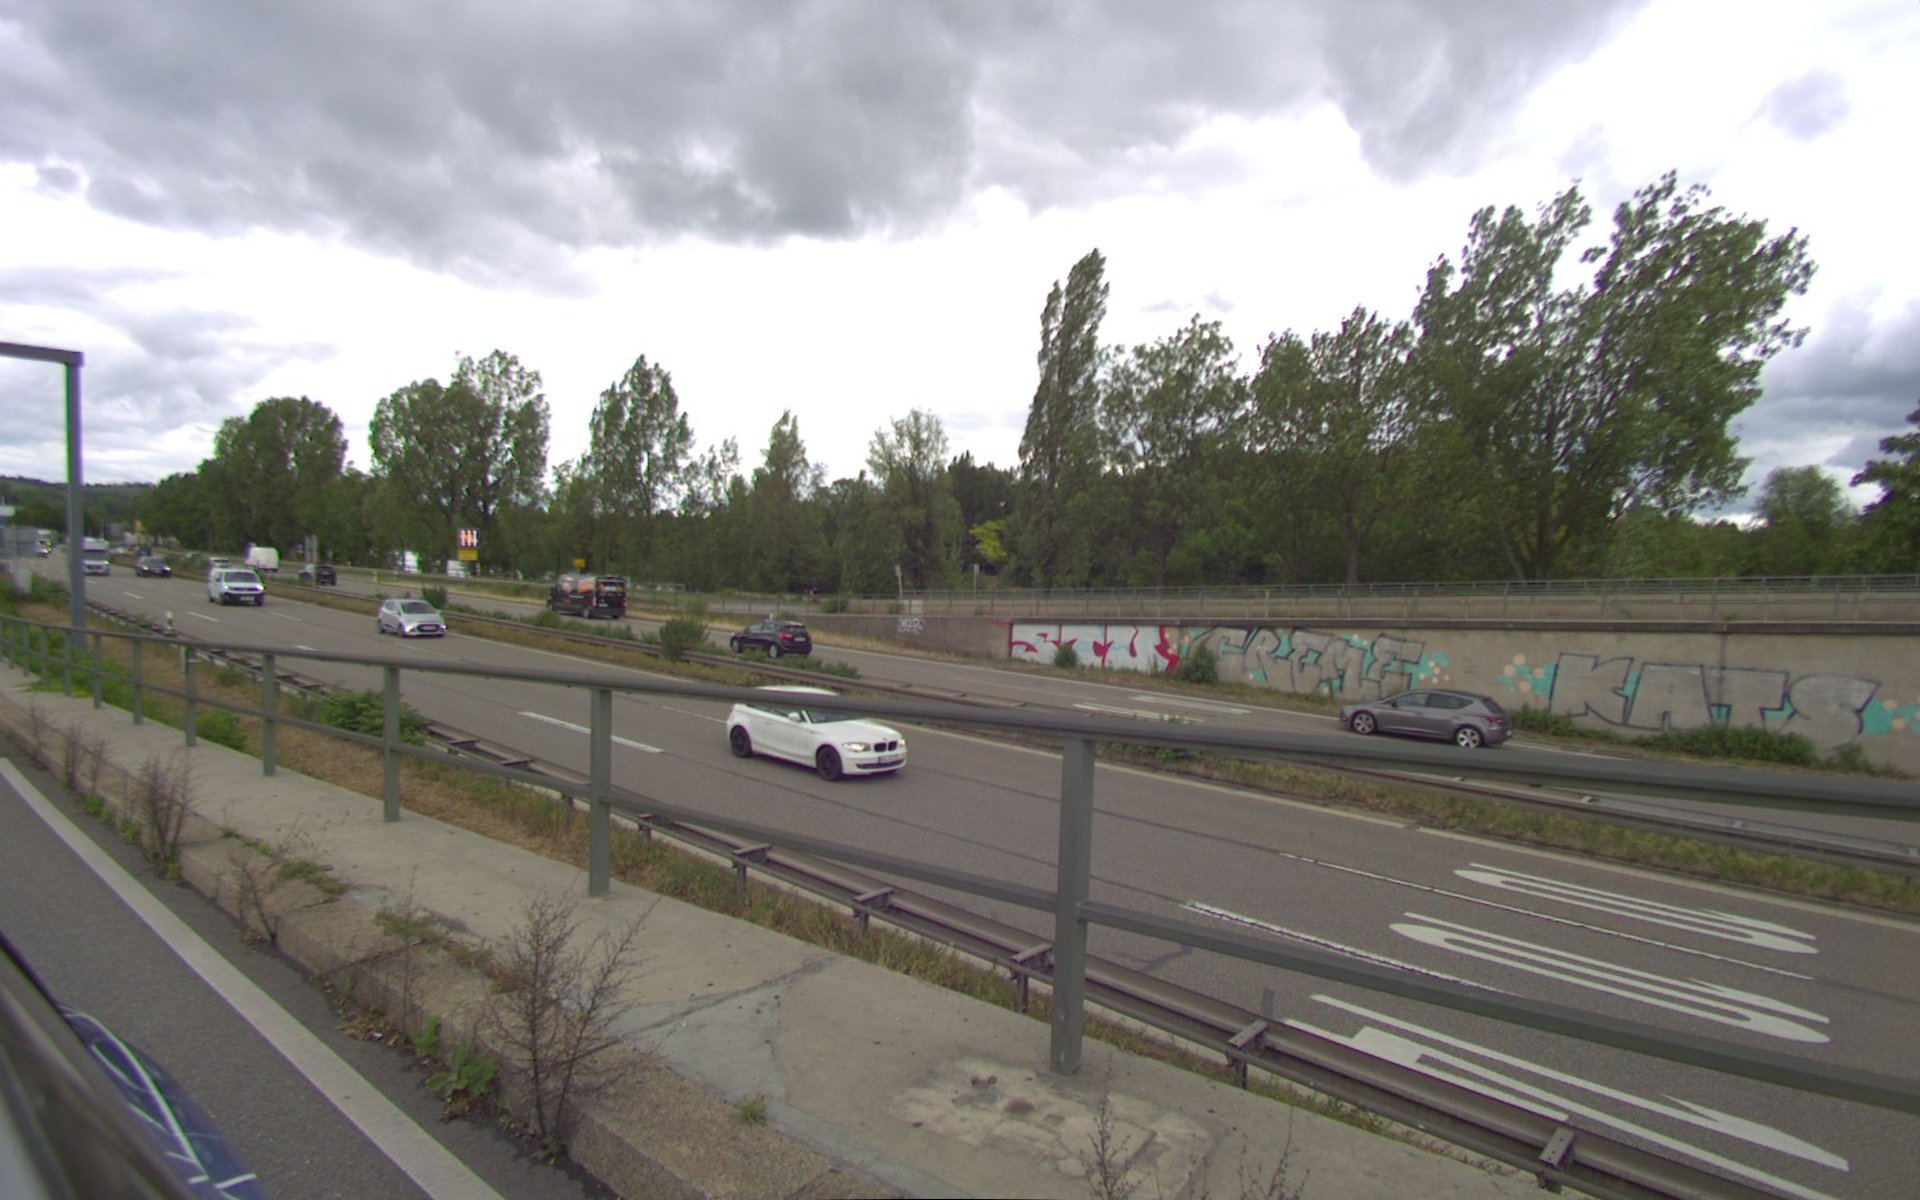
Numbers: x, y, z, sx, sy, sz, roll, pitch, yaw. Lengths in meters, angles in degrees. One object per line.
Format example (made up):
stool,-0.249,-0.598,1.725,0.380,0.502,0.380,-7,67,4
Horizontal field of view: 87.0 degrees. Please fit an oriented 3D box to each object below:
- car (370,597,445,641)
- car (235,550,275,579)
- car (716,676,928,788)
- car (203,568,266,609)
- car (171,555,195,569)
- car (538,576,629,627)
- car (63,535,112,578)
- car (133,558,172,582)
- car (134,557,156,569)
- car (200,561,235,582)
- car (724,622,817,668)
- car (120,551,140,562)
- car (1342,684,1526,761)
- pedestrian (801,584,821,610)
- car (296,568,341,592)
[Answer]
car,-23.004,0.767,42.105,3.681,1.564,1.540,4,3,41
car,-75.339,-3.832,108.119,5.359,2.800,2.187,4,2,41
car,-2.756,2.442,19.618,4.164,1.462,1.724,4,2,41
car,-39.473,-0.669,55.042,4.898,1.949,1.928,5,4,44
car,-104.263,-5.106,135.813,3.931,1.662,1.879,4,3,41
car,-21.758,0.035,58.330,6.111,2.565,2.221,4,2,40
car,-71.236,-3.600,82.542,7.664,3.264,2.335,5,3,44
car,-66.074,-2.470,82.753,4.280,1.726,1.820,4,2,42
car,-122.388,-5.532,151.956,3.931,1.662,1.879,3,2,41
car,-68.063,-2.618,92.726,3.930,1.662,1.739,4,3,41
car,-7.691,1.771,40.890,3.857,1.512,1.646,4,2,41
car,-133.758,-6.963,163.025,3.931,1.662,1.879,3,2,41
car,12.570,3.181,26.976,4.109,1.386,1.693,4,2,41
pedestrian,-10.165,-0.236,68.841,1.077,1.717,0.821,4,3,41
car,-52.311,-1.645,82.480,4.332,1.662,1.879,4,2,41
